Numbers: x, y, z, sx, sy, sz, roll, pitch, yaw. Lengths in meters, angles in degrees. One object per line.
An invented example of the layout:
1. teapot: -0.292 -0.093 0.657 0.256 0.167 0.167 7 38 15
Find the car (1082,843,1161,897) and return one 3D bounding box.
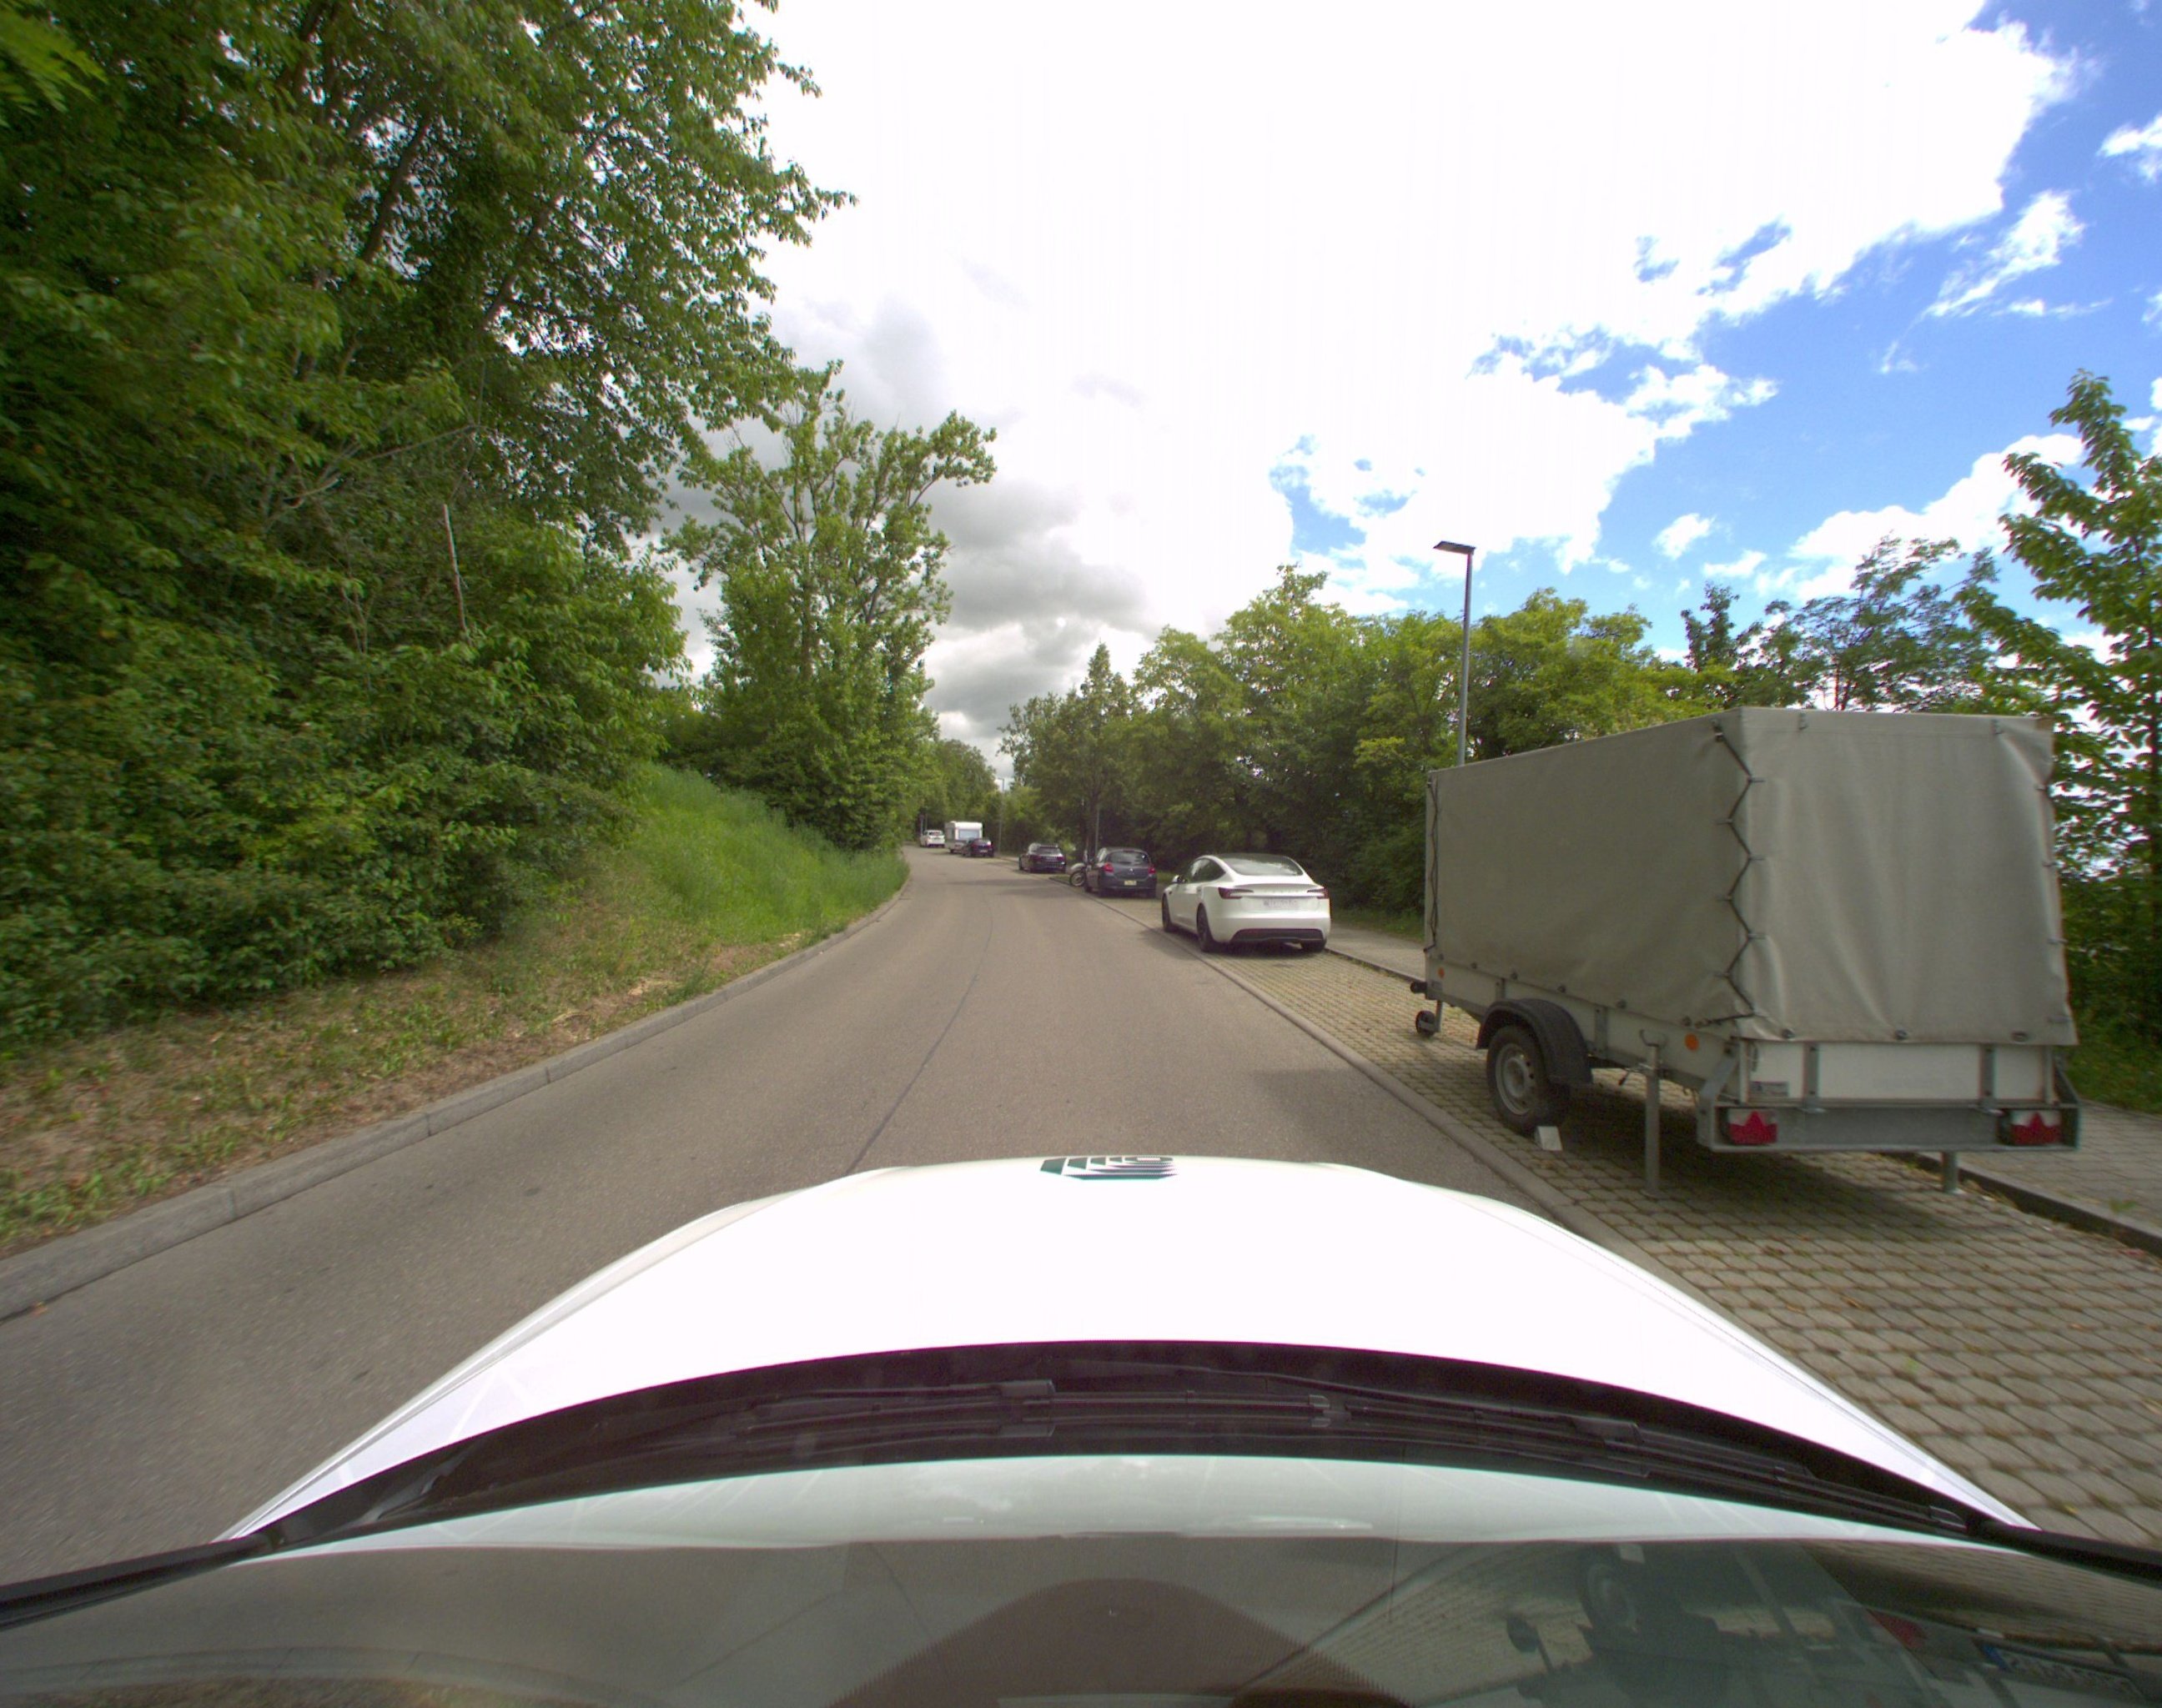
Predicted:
1. car: 1.169 0.457 25.308 1.768 1.517 4.097 1 0 -7

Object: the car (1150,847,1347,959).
1. car: 2.512 0.643 13.598 1.860 1.477 4.892 0 1 -6

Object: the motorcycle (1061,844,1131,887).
1. motorcycle: 0.546 0.393 29.000 2.288 1.475 0.979 0 1 16

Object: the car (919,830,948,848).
1. car: -13.913 -1.452 76.677 1.812 1.599 4.340 0 2 -22

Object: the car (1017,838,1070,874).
1. car: -1.938 0.058 40.707 1.895 1.529 4.527 2 2 -13

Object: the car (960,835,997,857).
1. car: -7.520 -0.586 59.258 1.688 1.450 4.450 1 2 -21

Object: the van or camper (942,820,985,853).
1. van or camper: -9.389 -1.409 64.733 2.363 2.553 5.040 0 2 -21

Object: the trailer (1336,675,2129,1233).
1. trailer: 3.076 0.372 4.973 1.726 2.078 3.780 0 0 -2
